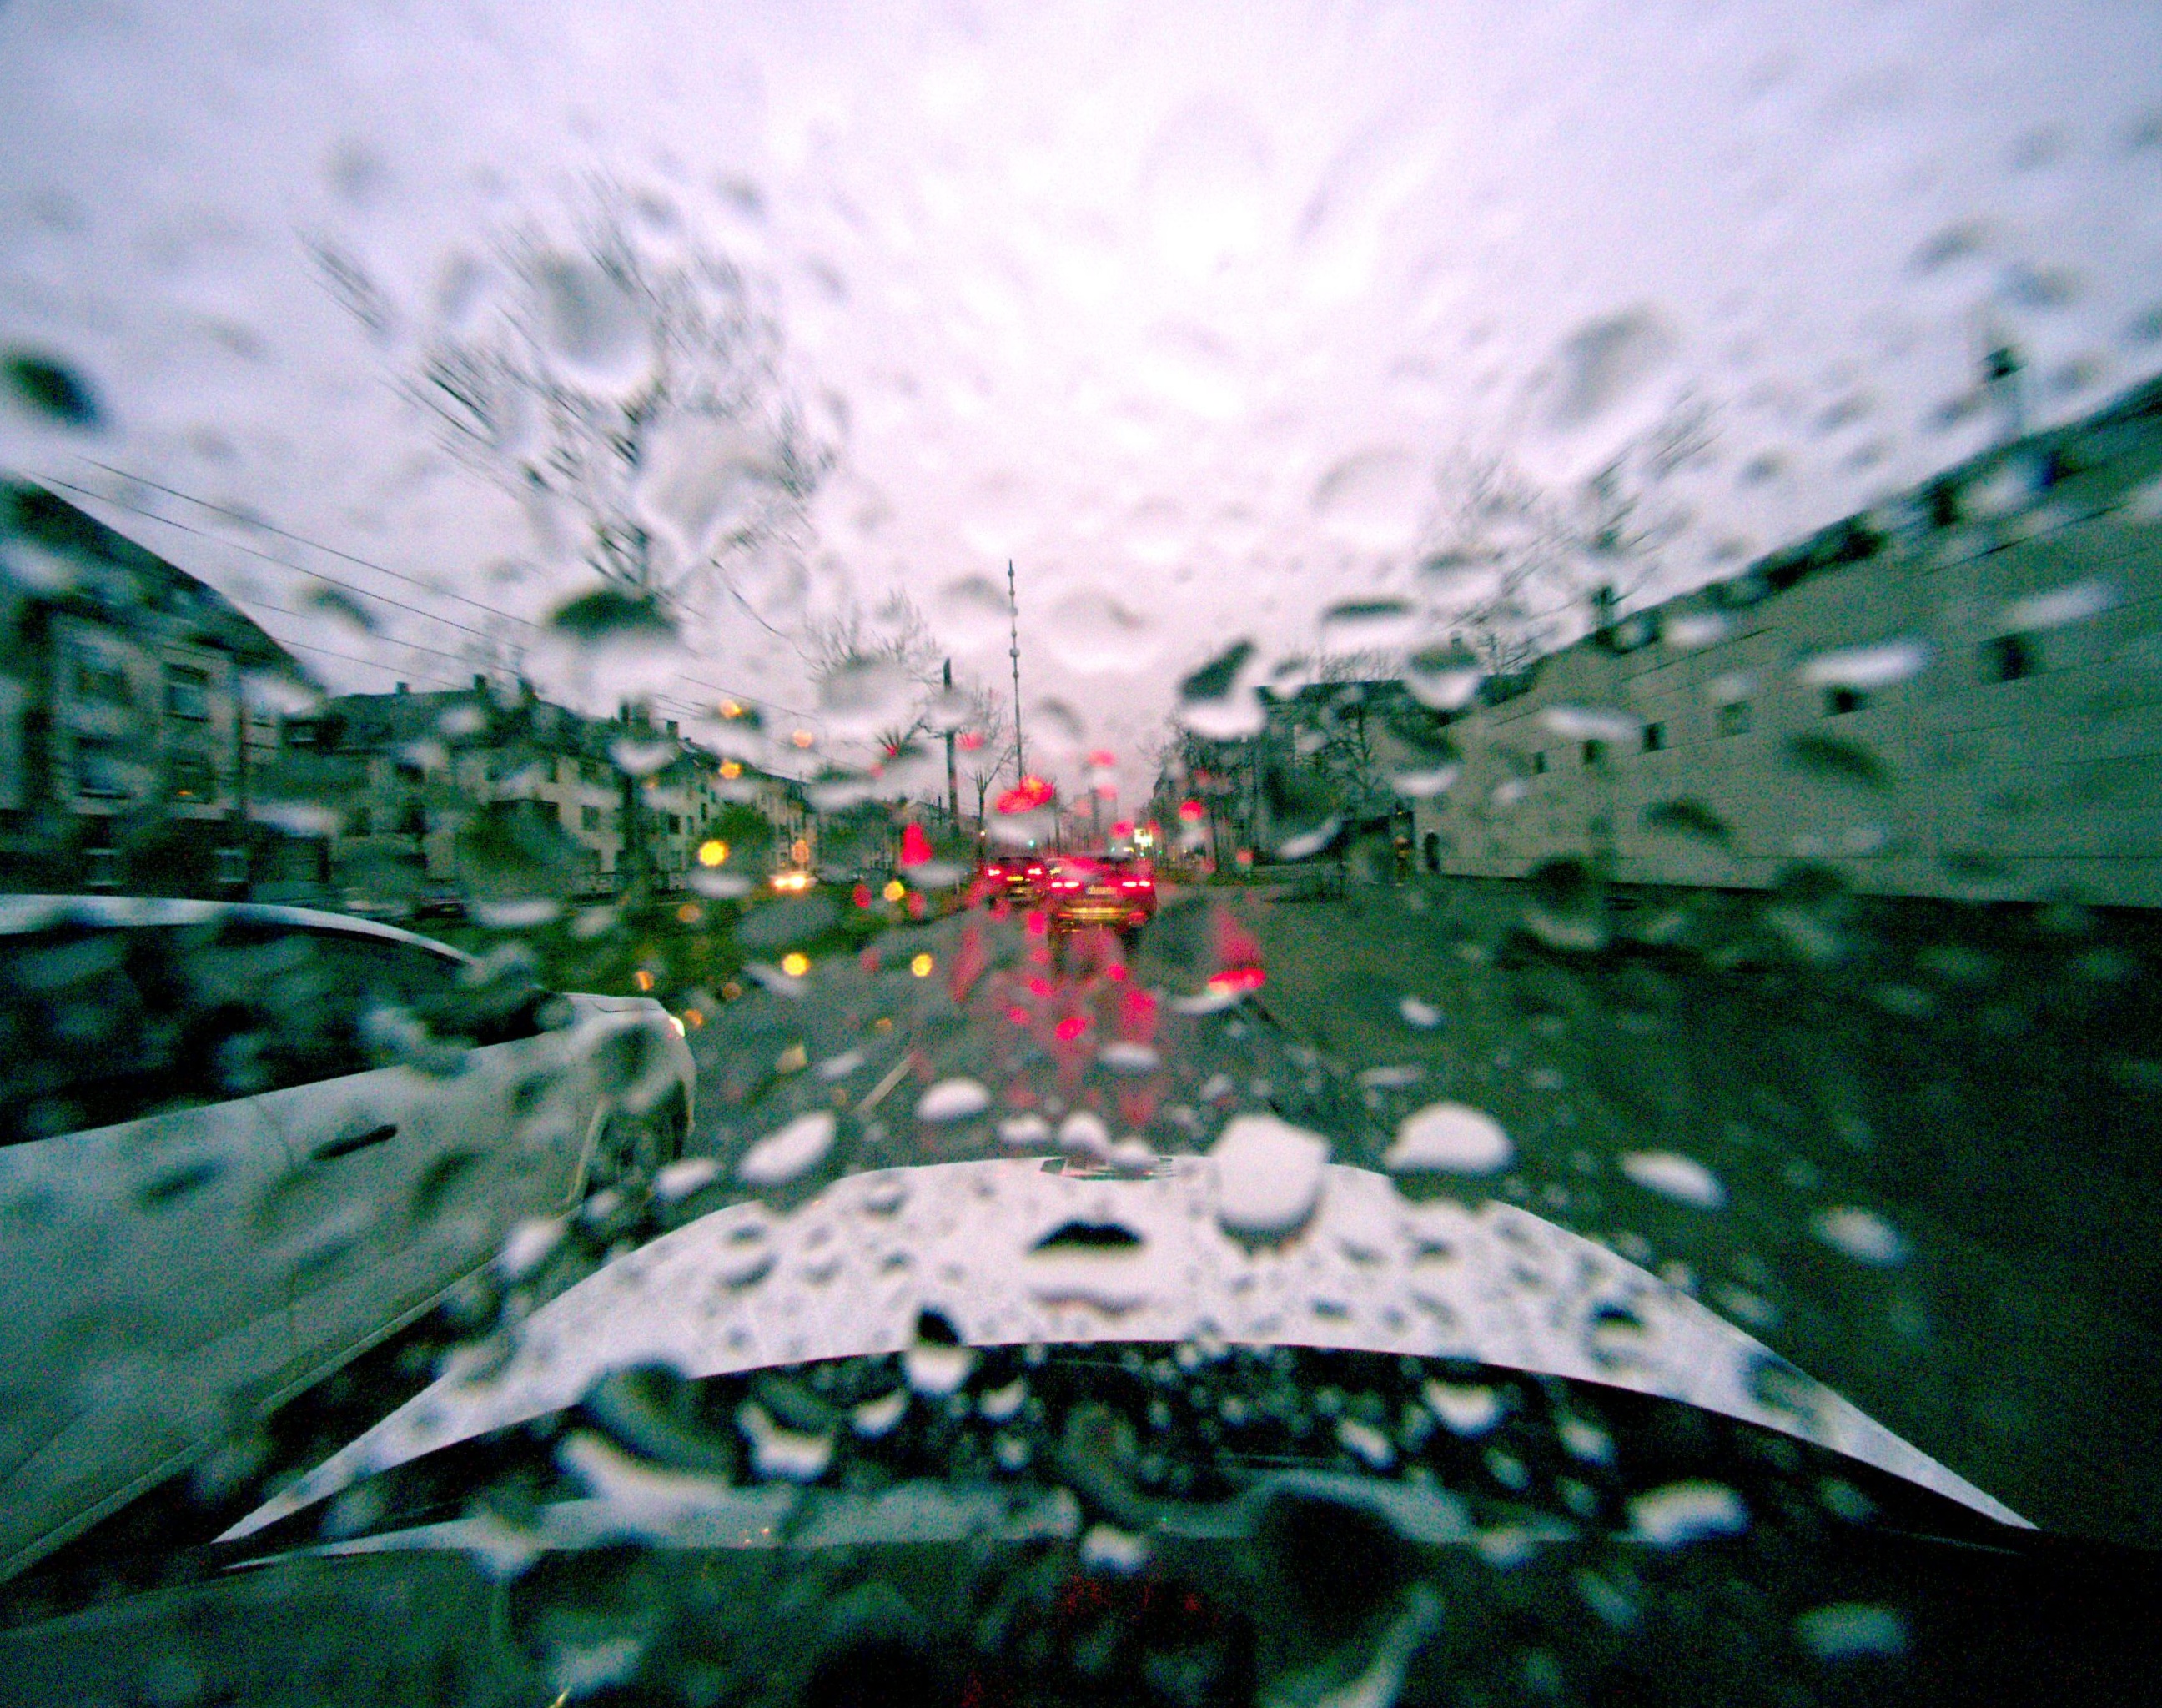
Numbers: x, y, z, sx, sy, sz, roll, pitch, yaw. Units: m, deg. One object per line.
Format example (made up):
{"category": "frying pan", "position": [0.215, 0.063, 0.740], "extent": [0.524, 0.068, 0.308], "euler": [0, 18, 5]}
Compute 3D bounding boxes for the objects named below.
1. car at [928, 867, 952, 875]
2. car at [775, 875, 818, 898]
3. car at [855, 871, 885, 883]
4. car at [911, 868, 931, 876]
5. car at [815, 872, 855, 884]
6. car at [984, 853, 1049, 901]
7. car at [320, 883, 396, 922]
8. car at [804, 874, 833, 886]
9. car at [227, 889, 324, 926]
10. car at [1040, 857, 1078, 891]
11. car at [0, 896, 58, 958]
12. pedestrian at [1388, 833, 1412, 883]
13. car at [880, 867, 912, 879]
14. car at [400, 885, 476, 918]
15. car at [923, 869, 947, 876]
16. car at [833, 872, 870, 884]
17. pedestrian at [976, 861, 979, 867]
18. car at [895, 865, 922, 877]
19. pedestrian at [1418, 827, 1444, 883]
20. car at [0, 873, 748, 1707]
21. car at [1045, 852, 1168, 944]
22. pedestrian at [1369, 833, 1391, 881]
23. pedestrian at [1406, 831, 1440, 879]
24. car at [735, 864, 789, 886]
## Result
{"category": "car", "position": [-23.074, 2.816, 133.014], "extent": [3.494, 1.200, 1.894], "euler": [-1, -1, 33]}
{"category": "car", "position": [-19.976, 2.260, 57.340], "extent": [1.539, 1.504, 3.786], "euler": [-1, -1, 3]}
{"category": "car", "position": [-23.792, 2.551, 91.870], "extent": [2.899, 1.336, 1.749], "euler": [-1, 0, 34]}
{"category": "car", "position": [-23.195, 2.611, 117.854], "extent": [2.852, 1.204, 1.397], "euler": [-1, -1, 43]}
{"category": "car", "position": [-24.513, 2.389, 81.115], "extent": [3.772, 1.172, 1.749], "euler": [-1, 0, 34]}
{"category": "car", "position": [-2.050, 0.712, 27.032], "extent": [1.811, 1.450, 3.999], "euler": [-1, -1, 0]}
{"category": "car", "position": [-26.864, 1.773, 30.220], "extent": [3.993, 1.230, 1.357], "euler": [1, -1, 38]}
{"category": "car", "position": [-25.061, 2.478, 77.785], "extent": [2.361, 1.048, 1.446], "euler": [-1, 0, 34]}
{"category": "car", "position": [-26.290, 1.709, 26.566], "extent": [2.881, 0.989, 1.806], "euler": [1, -1, 37]}
{"category": "car", "position": [-1.070, 1.006, 41.413], "extent": [1.683, 1.635, 3.475], "euler": [-1, -1, 2]}
{"category": "car", "position": [-26.928, 1.754, 19.795], "extent": [3.321, 1.418, 1.888], "euler": [-1, -2, 27]}
{"category": "pedestrian", "position": [10.336, 0.126, 26.402], "extent": [0.667, 1.612, 0.617], "euler": [-1, -1, 16]}
{"category": "car", "position": [-23.714, 2.419, 104.400], "extent": [4.109, 1.541, 1.680], "euler": [-1, -1, 38]}
{"category": "car", "position": [-26.748, 1.927, 33.841], "extent": [4.053, 1.161, 1.722], "euler": [1, -1, 41]}
{"category": "car", "position": [-23.356, 2.948, 130.043], "extent": [3.494, 1.212, 1.759], "euler": [-1, -1, 33]}
{"category": "car", "position": [-23.934, 2.480, 84.797], "extent": [3.794, 1.245, 1.749], "euler": [-1, 0, 38]}
{"category": "pedestrian", "position": [-22.696, 2.156, 178.499], "extent": [0.348, 1.184, 0.429], "euler": [0, -1, -39]}
{"category": "car", "position": [-23.465, 2.363, 110.570], "extent": [3.801, 1.588, 1.752], "euler": [-1, -1, 43]}
{"category": "pedestrian", "position": [11.265, 0.045, 26.223], "extent": [0.667, 1.778, 0.617], "euler": [-1, -1, 15]}
{"category": "car", "position": [-2.639, 0.831, 2.226], "extent": [1.682, 1.474, 4.002], "euler": [-1, -1, 2]}
{"category": "car", "position": [0.481, 0.750, 15.207], "extent": [1.986, 1.483, 3.701], "euler": [-1, -1, 2]}
{"category": "pedestrian", "position": [10.231, 0.116, 27.884], "extent": [0.667, 1.625, 0.617], "euler": [-1, -1, 17]}
{"category": "pedestrian", "position": [12.223, 0.058, 29.115], "extent": [0.665, 1.655, 0.993], "euler": [-3, -1, -3]}
{"category": "car", "position": [-25.710, 1.662, 65.515], "extent": [4.598, 1.723, 1.845], "euler": [-1, 0, 36]}
